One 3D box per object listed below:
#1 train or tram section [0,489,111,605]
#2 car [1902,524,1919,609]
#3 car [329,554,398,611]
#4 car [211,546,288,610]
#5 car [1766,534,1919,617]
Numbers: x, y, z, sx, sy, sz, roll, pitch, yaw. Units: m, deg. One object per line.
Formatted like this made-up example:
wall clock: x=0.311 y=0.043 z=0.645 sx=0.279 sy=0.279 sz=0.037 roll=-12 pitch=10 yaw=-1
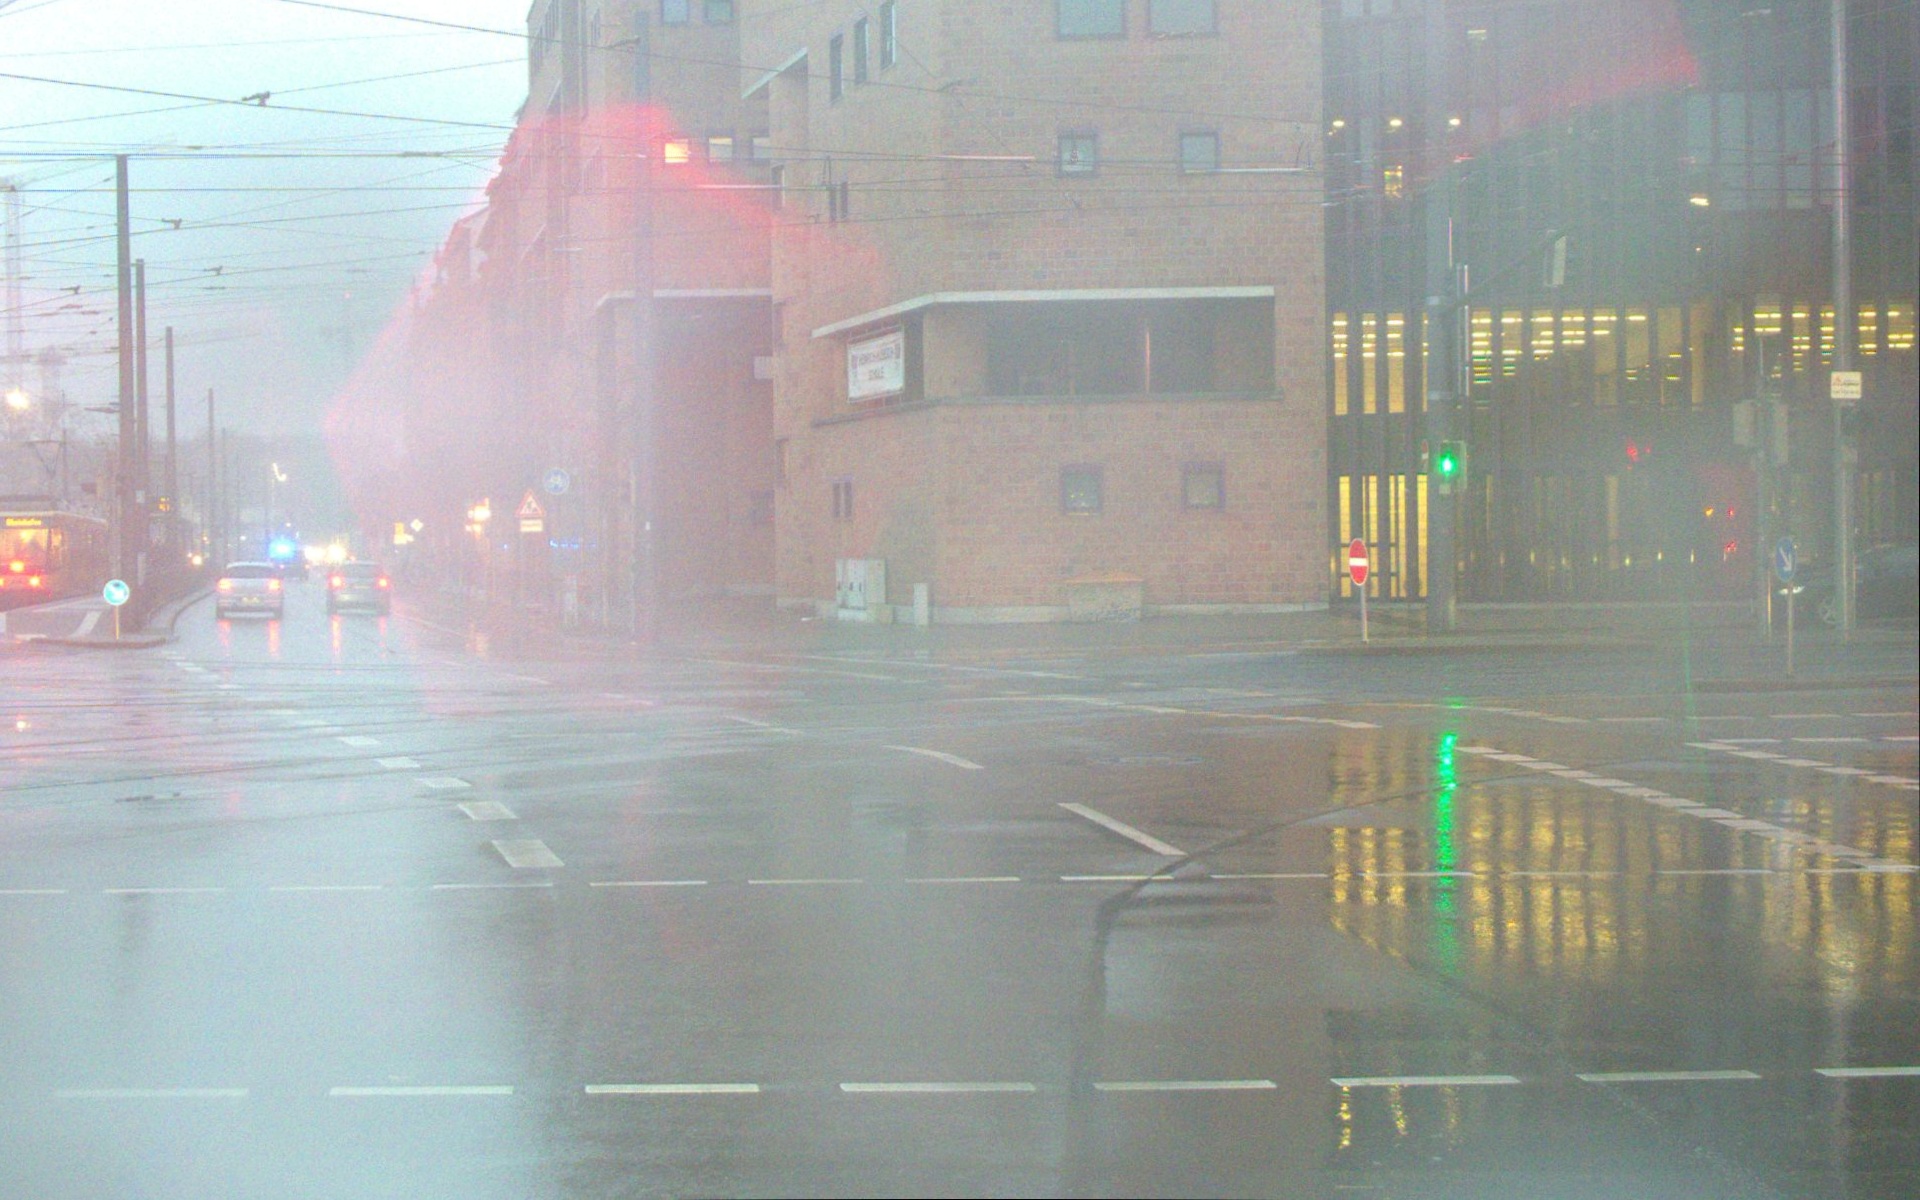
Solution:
train or tram section: x=-31.184 y=-1.753 z=115.924 sx=3.190 sy=3.424 sz=27.839 roll=-1 pitch=1 yaw=-10
car: x=16.721 y=-0.508 z=53.176 sx=3.719 sy=1.258 sz=1.848 roll=-1 pitch=5 yaw=-6
car: x=-17.472 y=-0.532 z=100.804 sx=1.870 sy=1.573 sz=4.001 roll=2 pitch=1 yaw=-9
car: x=-18.821 y=-0.596 z=91.132 sx=1.870 sy=1.573 sz=4.001 roll=1 pitch=1 yaw=-10
car: x=15.642 y=-0.436 z=57.004 sx=3.986 sy=1.305 sz=2.000 roll=-1 pitch=1 yaw=-4
